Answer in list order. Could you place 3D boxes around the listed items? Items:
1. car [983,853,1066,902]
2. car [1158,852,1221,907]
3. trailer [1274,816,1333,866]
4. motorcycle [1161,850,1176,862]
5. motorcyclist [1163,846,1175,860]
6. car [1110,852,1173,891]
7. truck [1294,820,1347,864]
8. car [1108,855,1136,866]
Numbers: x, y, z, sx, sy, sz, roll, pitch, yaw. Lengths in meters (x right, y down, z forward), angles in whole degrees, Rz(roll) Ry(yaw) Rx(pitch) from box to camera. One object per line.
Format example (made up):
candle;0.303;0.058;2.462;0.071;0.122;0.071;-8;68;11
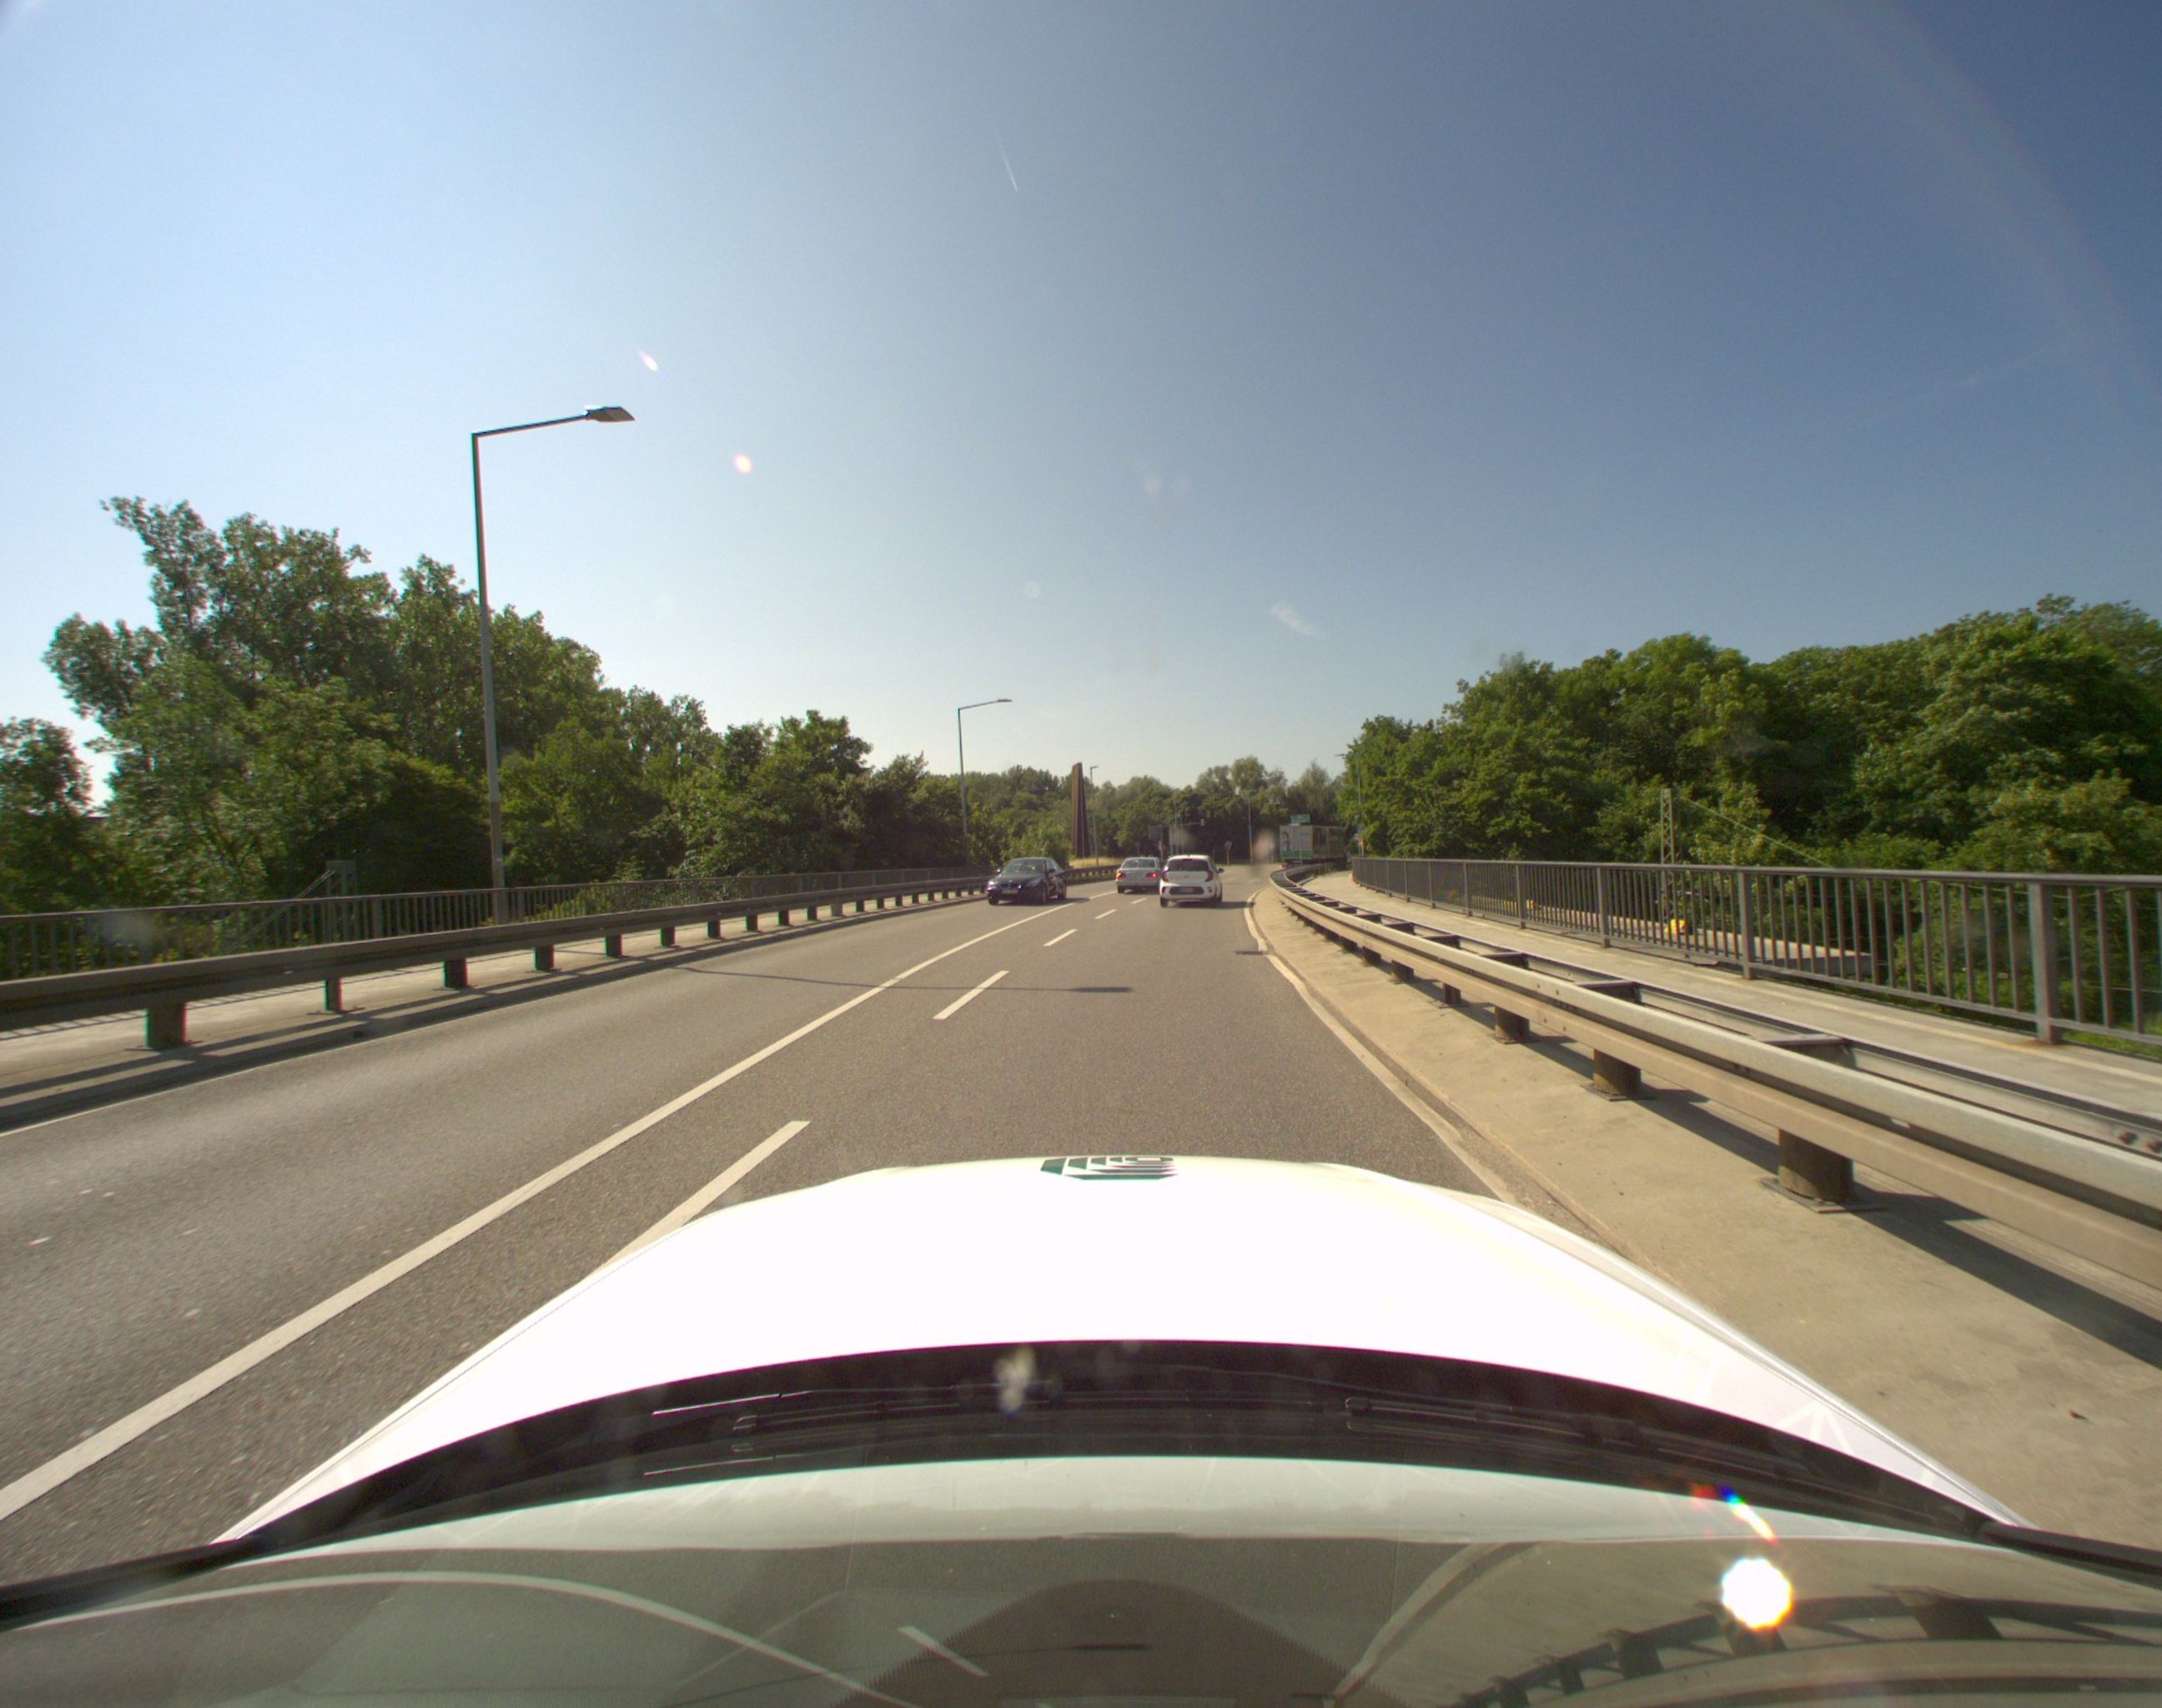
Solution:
car;-1.771;0.708;26.997;1.845;1.442;4.525;-1;1;8
car;3.366;0.712;24.665;1.691;1.494;4.011;0;0;10
trailer;18.227;-1.047;66.267;3.195;3.758;7.870;1;1;25
motorcycle;12.186;0.267;112.848;0.904;1.529;1.959;1;-2;-42
motorcyclist;12.187;-0.094;112.871;0.897;1.870;1.446;1;-2;-42
car;2.546;0.651;33.104;1.926;1.486;4.916;0;0;12
truck;21.786;-1.084;73.680;3.230;3.758;8.419;1;1;25
car;5.848;0.977;117.387;1.776;1.389;3.952;2;-5;-40
